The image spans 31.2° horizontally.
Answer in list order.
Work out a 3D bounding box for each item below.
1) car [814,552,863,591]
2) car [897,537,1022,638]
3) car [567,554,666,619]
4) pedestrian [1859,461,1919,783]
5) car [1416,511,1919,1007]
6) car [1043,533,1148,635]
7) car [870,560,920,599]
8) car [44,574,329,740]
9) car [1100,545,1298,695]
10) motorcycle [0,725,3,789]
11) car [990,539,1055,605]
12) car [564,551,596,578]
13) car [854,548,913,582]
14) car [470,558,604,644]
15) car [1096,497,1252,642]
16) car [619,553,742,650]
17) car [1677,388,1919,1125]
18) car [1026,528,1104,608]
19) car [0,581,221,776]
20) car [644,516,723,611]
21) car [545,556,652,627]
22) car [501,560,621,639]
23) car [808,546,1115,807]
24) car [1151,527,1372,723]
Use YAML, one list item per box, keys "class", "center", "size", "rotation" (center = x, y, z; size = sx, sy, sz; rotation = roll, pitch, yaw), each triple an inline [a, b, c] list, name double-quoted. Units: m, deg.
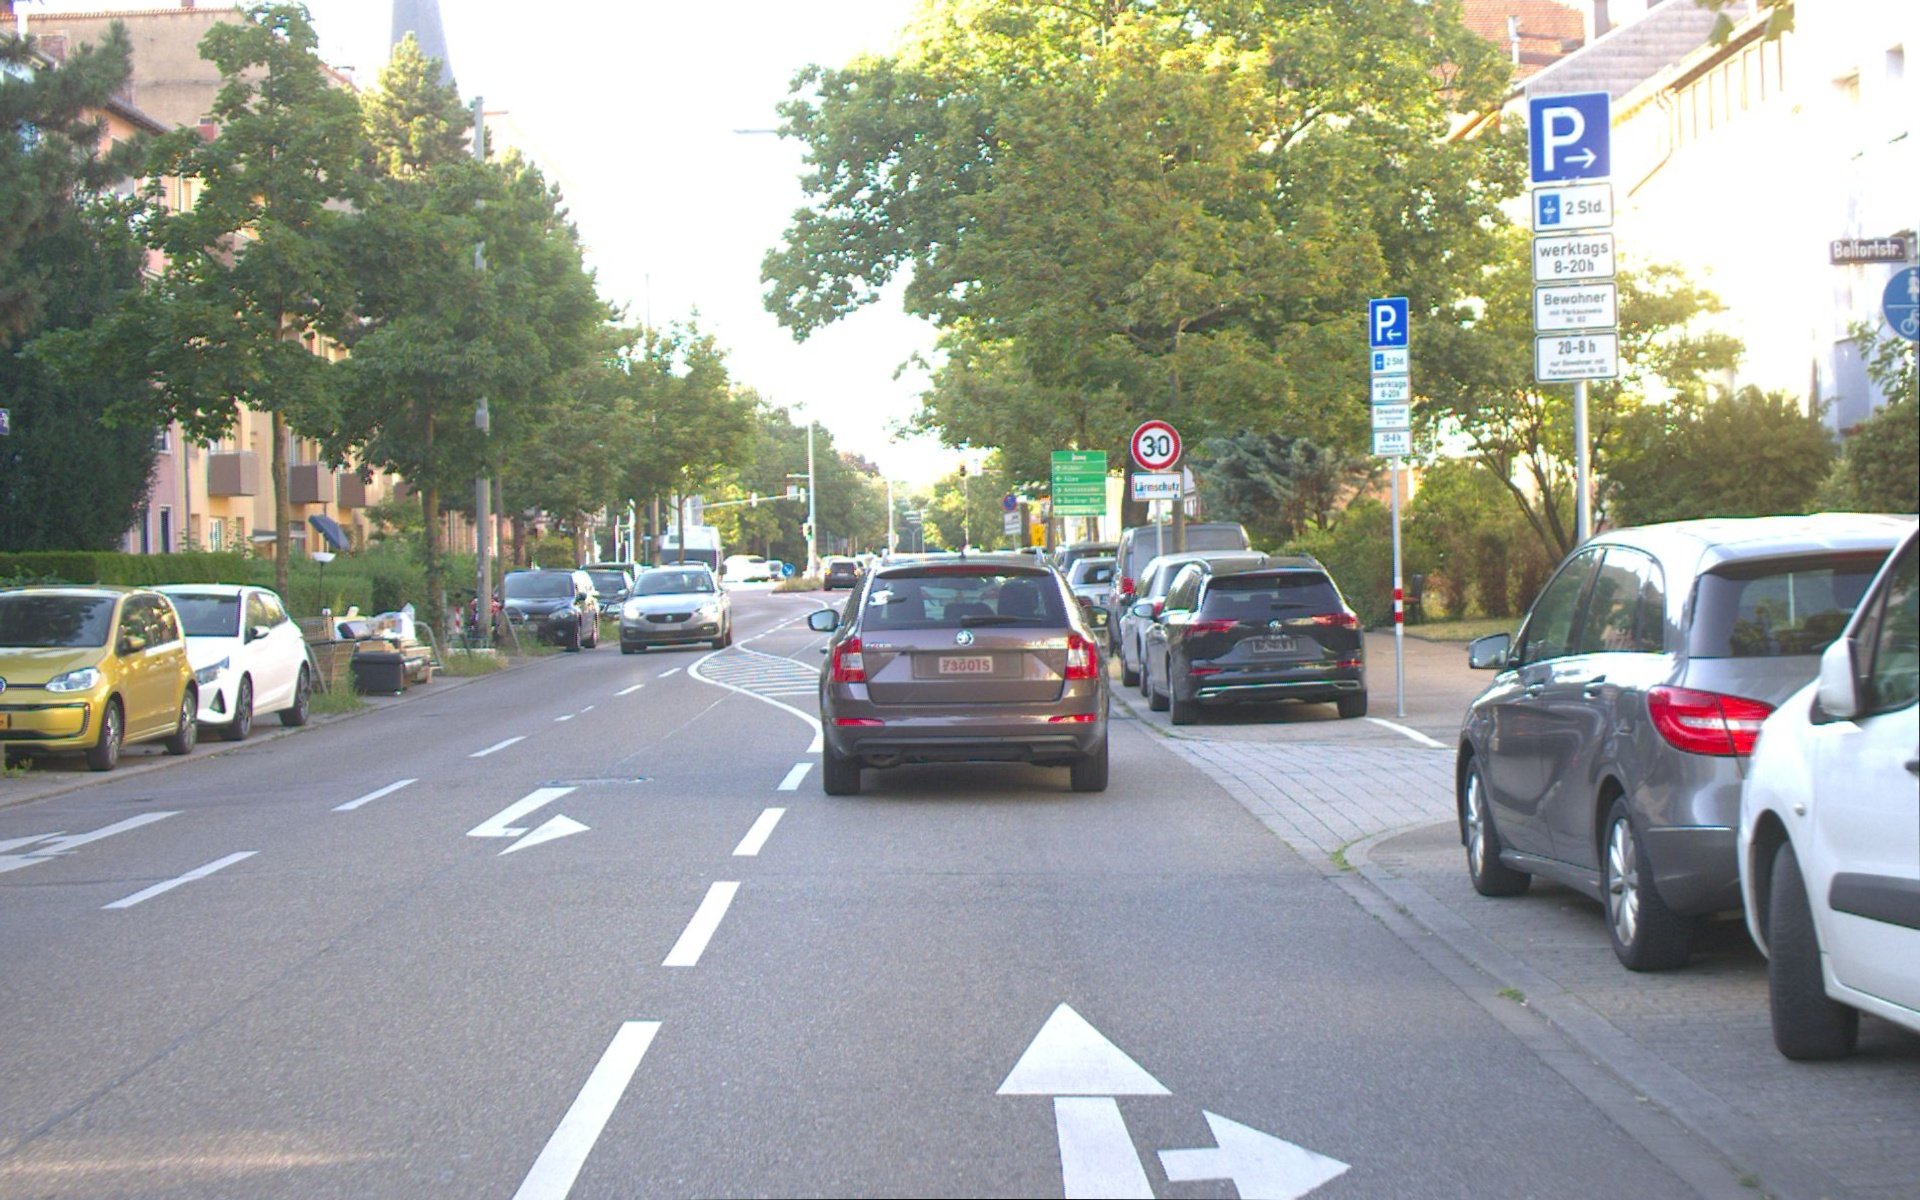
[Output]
- class: "car"
  center: [-5.696, -1.350, 160.213]
  size: [1.993, 1.744, 4.001]
  rotation: [-2, 1, -5]
- class: "car"
  center: [-0.034, -0.194, 55.576]
  size: [1.892, 1.501, 3.790]
  rotation: [2, 0, -1]
- class: "car"
  center: [-7.958, -0.335, 80.011]
  size: [1.781, 1.475, 3.971]
  rotation: [0, 1, 2]
- class: "pedestrian"
  center: [5.874, 0.106, 20.349]
  size: [0.749, 1.854, 1.068]
  rotation: [-2, 1, -1]
- class: "car"
  center: [3.057, 0.470, 13.353]
  size: [1.754, 1.551, 4.253]
  rotation: [-3, 1, -3]
- class: "car"
  center: [2.325, -0.299, 59.782]
  size: [1.754, 1.709, 4.000]
  rotation: [0, 1, 1]
- class: "car"
  center: [-2.518, -0.813, 132.920]
  size: [1.781, 1.475, 3.971]
  rotation: [0, 1, -3]
- class: "car"
  center: [-7.495, 0.510, 33.684]
  size: [1.781, 1.489, 3.971]
  rotation: [0, 1, 2]
- class: "car"
  center: [2.546, 0.175, 37.471]
  size: [1.754, 1.551, 4.105]
  rotation: [0, 1, -2]
- class: "motorcycle"
  center: [-7.539, 0.794, 23.427]
  size: [0.659, 1.200, 2.330]
  rotation: [-2, 1, 21]
- class: "car"
  center: [1.734, -0.807, 96.327]
  size: [1.754, 1.799, 4.000]
  rotation: [0, 1, 0]
- class: "car"
  center: [-25.455, -2.375, 230.444]
  size: [1.993, 1.744, 4.001]
  rotation: [-2, 1, -8]
- class: "car"
  center: [-4.094, -1.856, 182.602]
  size: [1.993, 1.744, 4.001]
  rotation: [-2, 1, -18]
- class: "car"
  center: [-7.570, -0.002, 61.794]
  size: [1.781, 1.475, 4.033]
  rotation: [0, 1, 2]
- class: "car"
  center: [2.907, -0.447, 47.812]
  size: [1.916, 1.854, 5.633]
  rotation: [-1, 1, 1]
- class: "car"
  center: [-4.820, -0.007, 59.818]
  size: [1.739, 1.474, 4.310]
  rotation: [-5, 1, -1]
- class: "car"
  center: [3.241, 0.380, 8.593]
  size: [1.800, 1.802, 4.424]
  rotation: [0, 1, -2]
- class: "car"
  center: [2.417, -0.762, 79.408]
  size: [1.754, 1.799, 4.000]
  rotation: [0, 1, 1]
- class: "car"
  center: [-7.465, 0.599, 28.756]
  size: [1.619, 1.475, 3.871]
  rotation: [0, 1, 2]
- class: "car"
  center: [-8.256, -1.123, 103.042]
  size: [1.991, 2.771, 5.504]
  rotation: [0, 1, -1]
- class: "car"
  center: [-7.779, -0.197, 74.313]
  size: [1.781, 1.475, 3.971]
  rotation: [0, 1, 2]
- class: "car"
  center: [-7.847, -0.035, 67.875]
  size: [1.781, 1.475, 3.971]
  rotation: [0, 1, 2]
- class: "car"
  center: [0.055, 0.404, 21.705]
  size: [1.754, 1.487, 4.000]
  rotation: [0, 1, 1]
- class: "car"
  center: [2.700, 0.176, 31.594]
  size: [1.754, 1.680, 4.252]
  rotation: [0, 1, 1]
